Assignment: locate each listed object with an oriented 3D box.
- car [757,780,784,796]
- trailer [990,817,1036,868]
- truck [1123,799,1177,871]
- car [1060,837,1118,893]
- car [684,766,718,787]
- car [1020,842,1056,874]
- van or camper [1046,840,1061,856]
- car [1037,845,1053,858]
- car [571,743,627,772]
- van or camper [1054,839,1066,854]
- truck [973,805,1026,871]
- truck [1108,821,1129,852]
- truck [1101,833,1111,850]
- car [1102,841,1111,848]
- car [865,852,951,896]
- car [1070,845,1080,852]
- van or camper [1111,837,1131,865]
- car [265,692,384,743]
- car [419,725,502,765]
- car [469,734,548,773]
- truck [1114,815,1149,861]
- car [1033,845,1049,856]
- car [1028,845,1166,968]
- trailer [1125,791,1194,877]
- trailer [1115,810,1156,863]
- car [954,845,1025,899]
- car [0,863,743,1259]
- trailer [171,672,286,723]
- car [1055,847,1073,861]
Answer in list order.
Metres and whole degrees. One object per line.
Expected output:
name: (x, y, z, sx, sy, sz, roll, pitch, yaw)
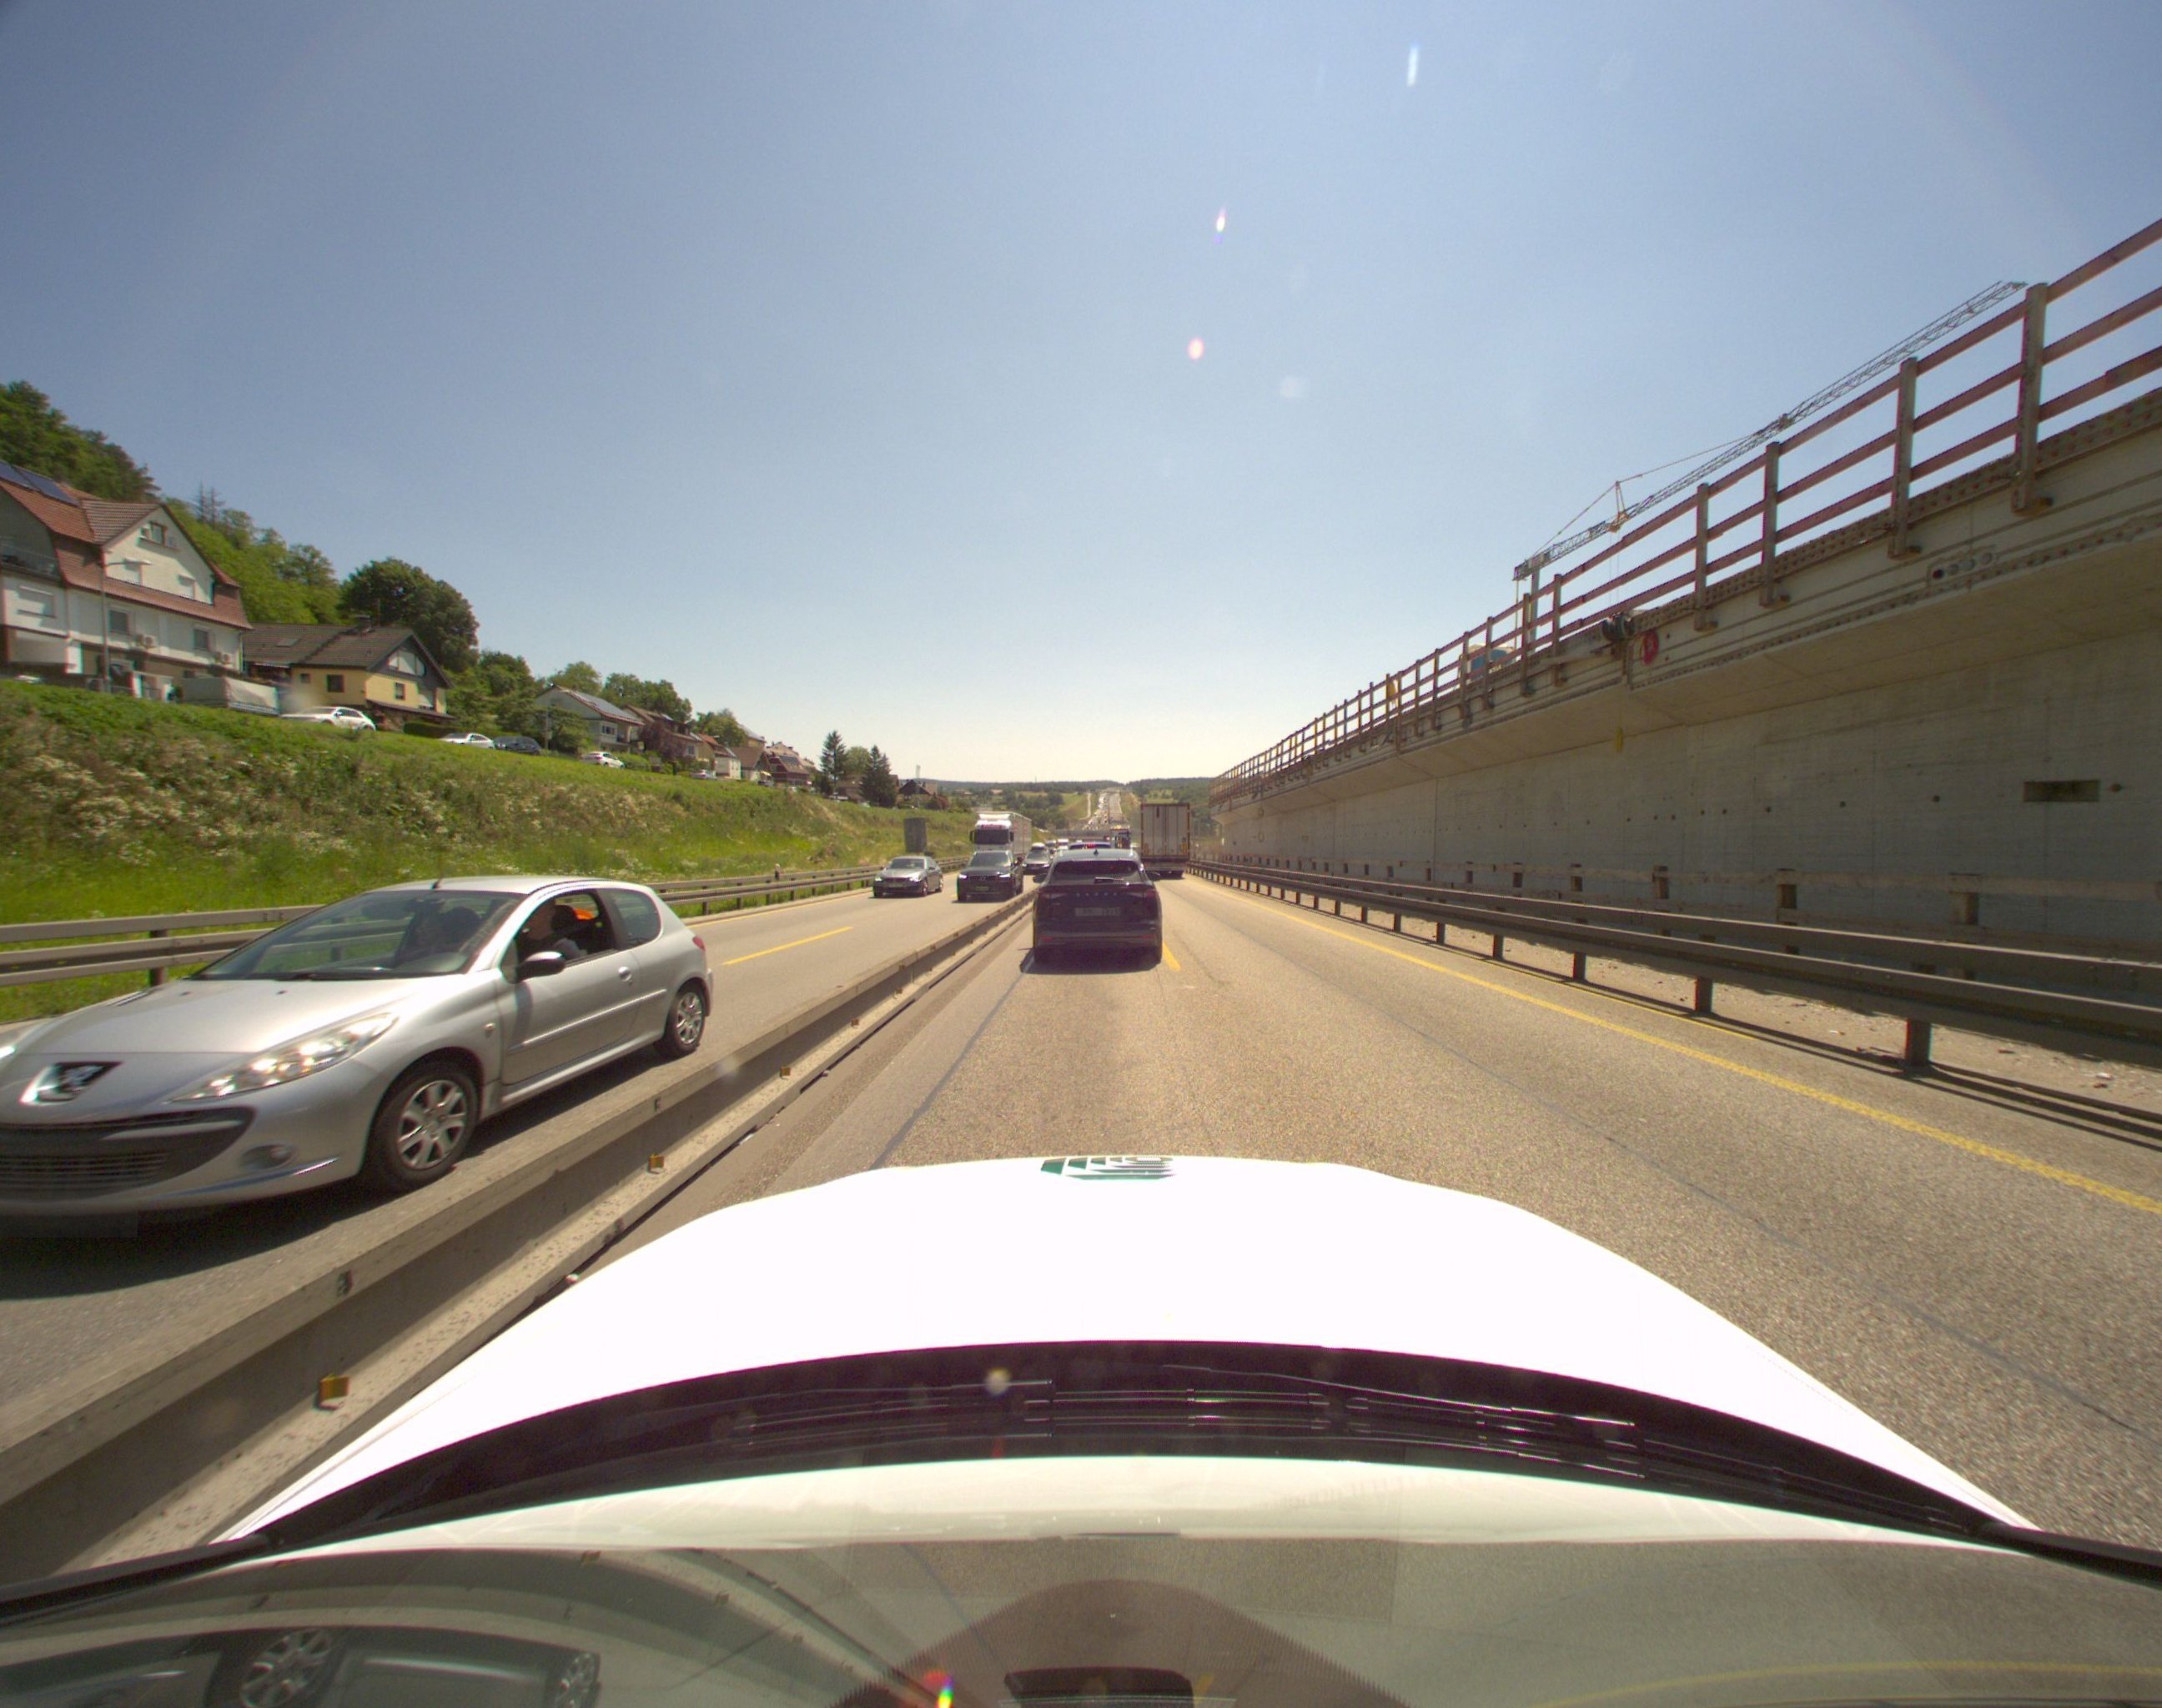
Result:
car: (-42.089, -8.954, 110.434, 2.175, 1.794, 4.754, 0, -1, -6)
trailer: (-5.638, -0.900, 68.893, 2.918, 3.988, 8.708, 0, 0, 1)
truck: (4.614, -1.274, 55.856, 3.169, 4.512, 8.168, 0, 1, 1)
car: (0.319, 0.409, 30.521, 1.987, 1.926, 4.508, 0, -1, 1)
car: (-40.235, -8.227, 86.323, 1.991, 1.794, 3.992, 0, -1, -6)
car: (-2.629, 0.243, 50.839, 1.842, 1.890, 4.502, 0, 0, 1)
van or camper: (-4.434, -0.996, 132.836, 2.132, 2.573, 6.566, 0, 1, 1)
car: (-4.753, -0.340, 107.508, 1.767, 1.582, 4.286, 0, 0, 1)
car: (-39.667, -7.915, 67.115, 1.991, 1.794, 5.002, 0, -1, -5)
van or camper: (-4.515, -1.614, 176.929, 2.283, 3.066, 6.925, 0, 1, 1)
truck: (-5.762, -1.091, 59.321, 2.611, 4.396, 10.387, 0, 0, 1)
truck: (5.684, -2.537, 125.398, 2.842, 4.465, 11.917, 0, -1, 1)
truck: (6.578, -3.240, 214.654, 2.630, 4.193, 9.286, 0, -1, 1)
car: (5.771, -2.136, 184.113, 1.806, 1.601, 4.575, 0, 1, 2)
car: (-6.453, 0.717, 31.073, 1.986, 1.508, 5.302, 0, 0, 2)
car: (-1.202, -1.079, 160.997, 1.836, 1.475, 4.836, 0, 1, 1)
van or camper: (4.929, -0.284, 99.995, 2.379, 3.280, 6.474, -1, -1, 3)
car: (-36.807, -6.576, 39.796, 1.993, 1.656, 4.539, 0, -1, -8)
car: (-38.162, -6.674, 50.257, 1.990, 1.872, 4.423, 0, -1, -5)
car: (-38.790, -6.760, 55.350, 2.067, 2.008, 4.966, 0, -1, -4)
truck: (5.128, -1.551, 84.114, 3.169, 4.513, 8.167, 0, -1, 1)
car: (-5.288, -0.428, 107.518, 1.988, 1.474, 3.998, 0, -1, -1)
car: (0.274, 0.687, 12.712, 1.795, 1.607, 4.002, 0, 0, 2)
trailer: (4.485, -1.149, 49.363, 3.169, 4.512, 13.112, 0, 1, 1)
trailer: (4.966, -1.466, 77.152, 3.169, 4.513, 14.969, 0, 0, 1)
car: (-3.009, 0.570, 27.587, 1.864, 1.684, 4.000, 0, 0, 1)
car: (-3.813, 0.818, 5.072, 1.661, 1.450, 3.907, -1, 0, 2)
trailer: (-36.111, -6.619, 34.608, 1.902, 1.516, 3.027, 0, -1, -10)
car: (-1.815, -0.022, 87.627, 1.796, 1.464, 4.001, 0, 0, 1)
